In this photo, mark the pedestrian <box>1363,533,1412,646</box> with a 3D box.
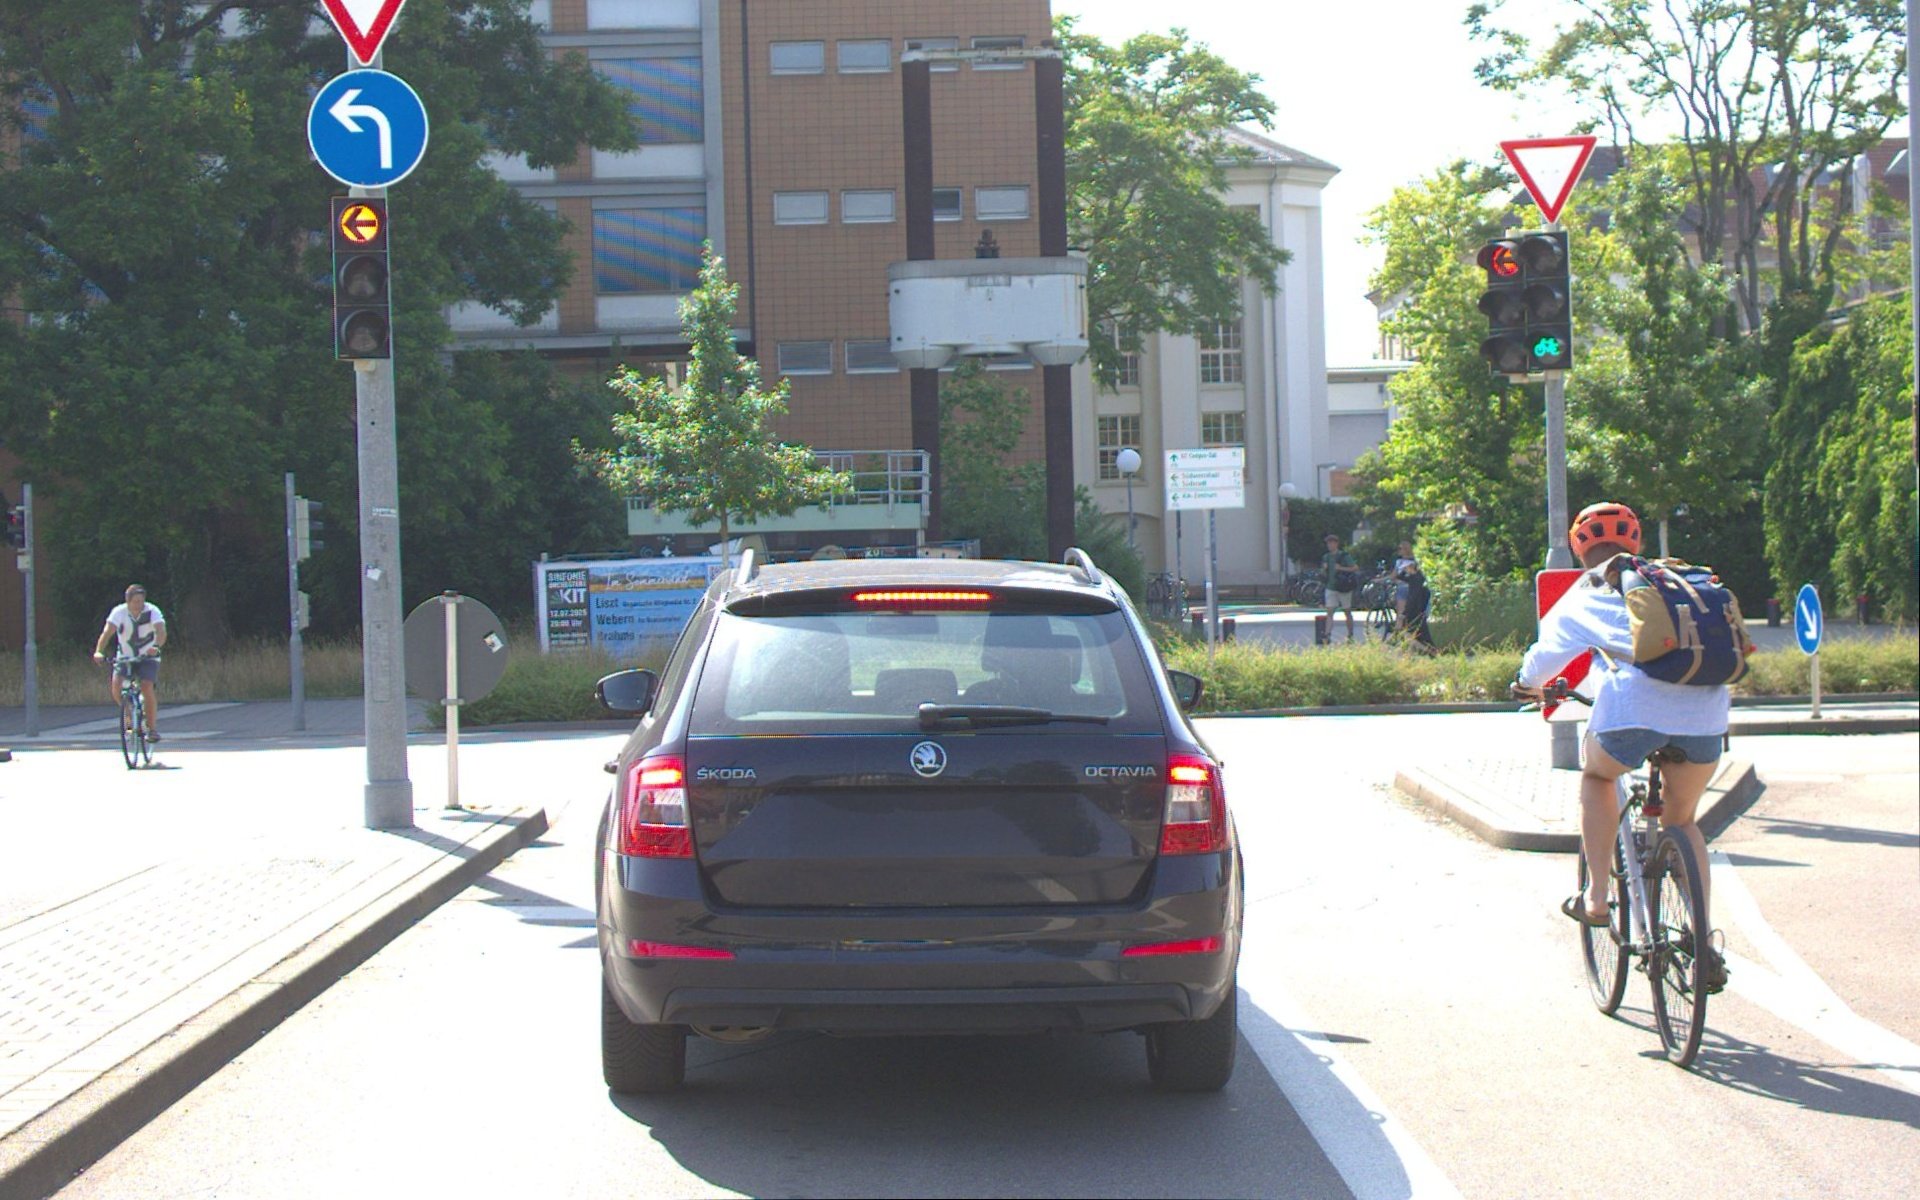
[{"bbox_3d":[7.225,-0.182,58.131,0.637,1.868,0.796,-3,1,-1],"label":"pedestrian"}]

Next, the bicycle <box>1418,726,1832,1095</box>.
[{"bbox_3d":[1.959,0.886,10.435,0.596,0.928,2.029,0,0,-8],"label":"bicycle"}]

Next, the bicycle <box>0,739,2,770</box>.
[{"bbox_3d":[-7.743,0.881,25.887,0.618,0.957,1.968,-4,1,-5],"label":"bicycle"}]

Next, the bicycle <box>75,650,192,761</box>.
[{"bbox_3d":[-8.034,1.015,33.490,0.704,0.974,2.031,-2,1,-2],"label":"bicycle"}]

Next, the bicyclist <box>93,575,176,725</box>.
[{"bbox_3d":[-8.023,0.483,33.445,0.539,1.412,1.030,-3,0,-2],"label":"bicyclist"}]

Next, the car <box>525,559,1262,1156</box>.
[{"bbox_3d":[-0.168,0.602,10.239,1.780,1.438,3.818,0,1,0],"label":"car"}]

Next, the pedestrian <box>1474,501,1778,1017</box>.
[{"bbox_3d":[1.972,0.447,10.288,0.583,1.461,1.014,0,0,-8],"label":"pedestrian"}]

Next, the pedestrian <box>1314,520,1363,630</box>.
[{"bbox_3d":[6.536,-0.434,59.380,0.597,1.868,0.638,-3,1,23],"label":"pedestrian"}]
